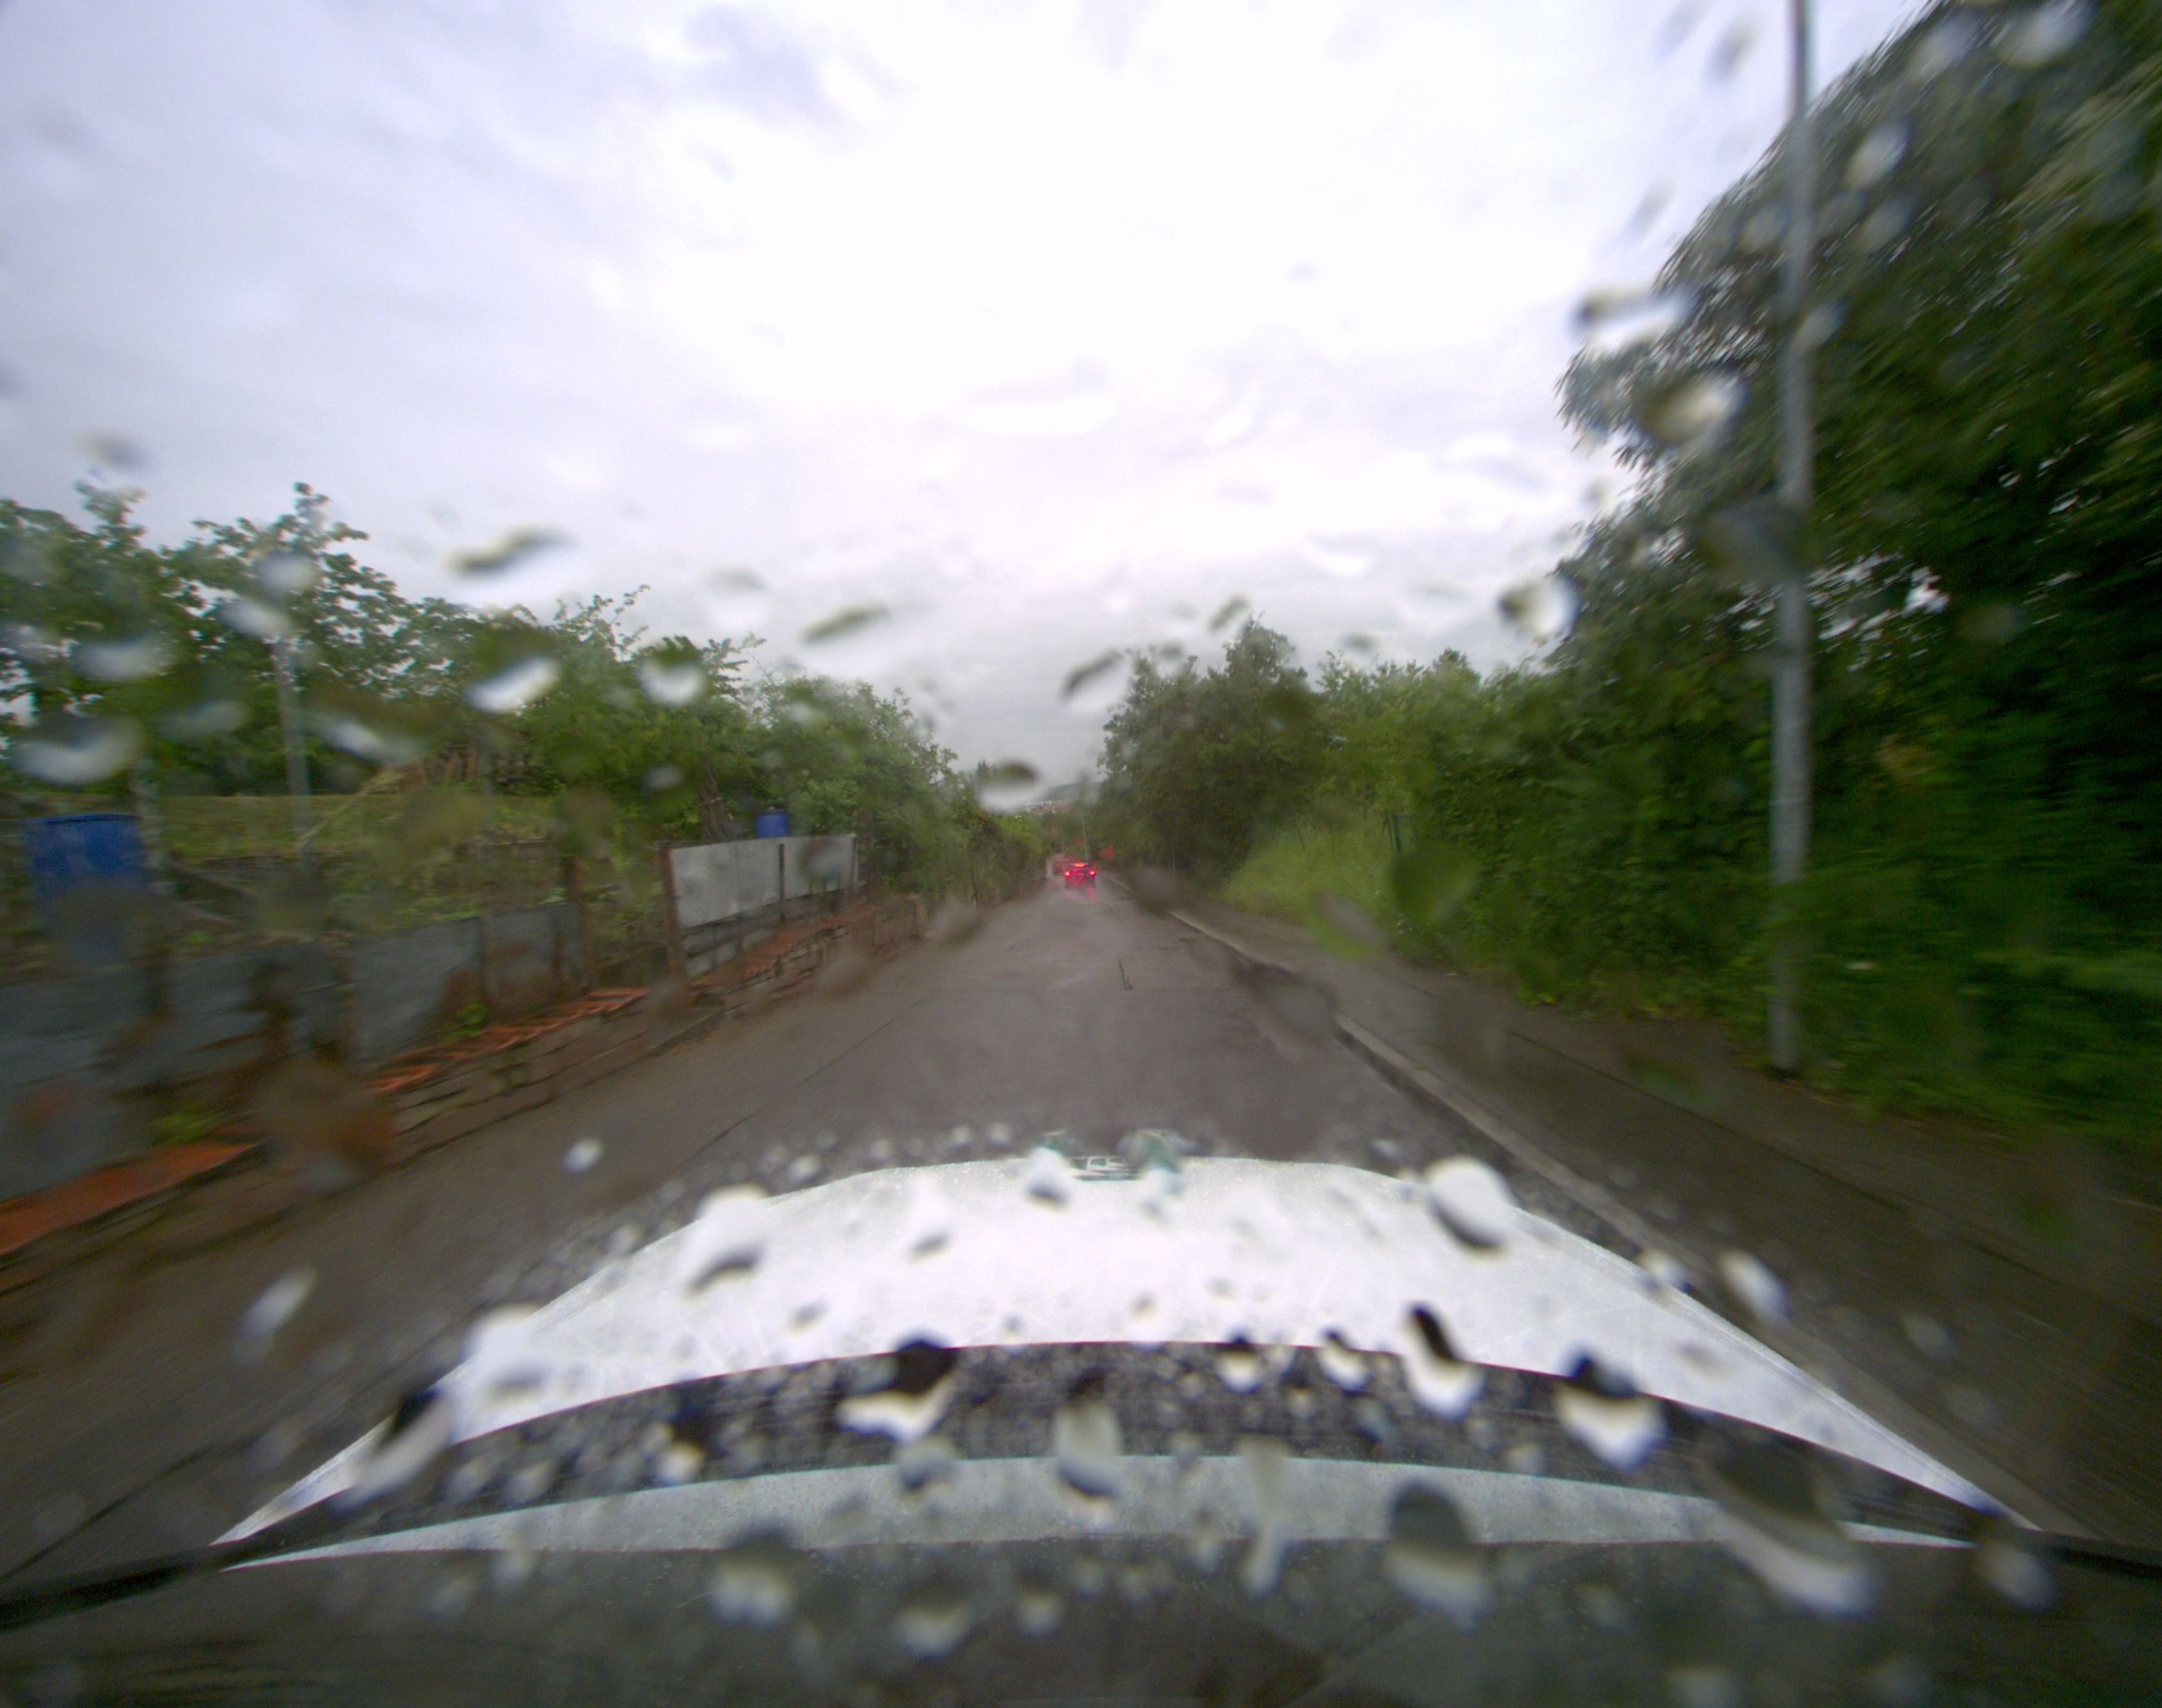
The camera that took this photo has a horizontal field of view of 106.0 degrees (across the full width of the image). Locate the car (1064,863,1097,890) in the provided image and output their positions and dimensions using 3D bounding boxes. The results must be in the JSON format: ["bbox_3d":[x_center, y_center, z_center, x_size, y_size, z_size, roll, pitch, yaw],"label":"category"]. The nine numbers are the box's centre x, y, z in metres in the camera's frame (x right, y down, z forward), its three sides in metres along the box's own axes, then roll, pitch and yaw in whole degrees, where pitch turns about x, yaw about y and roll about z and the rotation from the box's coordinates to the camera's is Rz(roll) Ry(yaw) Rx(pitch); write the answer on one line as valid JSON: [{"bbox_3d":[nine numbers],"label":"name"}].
[{"bbox_3d":[-0.038,1.315,48.819,1.829,1.464,3.999,-1,1,-1],"label":"car"}]

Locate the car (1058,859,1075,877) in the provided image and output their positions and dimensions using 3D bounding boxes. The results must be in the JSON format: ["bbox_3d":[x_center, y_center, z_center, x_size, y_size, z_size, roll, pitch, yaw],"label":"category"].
[{"bbox_3d":[-1.489,1.410,82.893,1.673,1.565,3.793,-2,1,-1],"label":"car"}]
